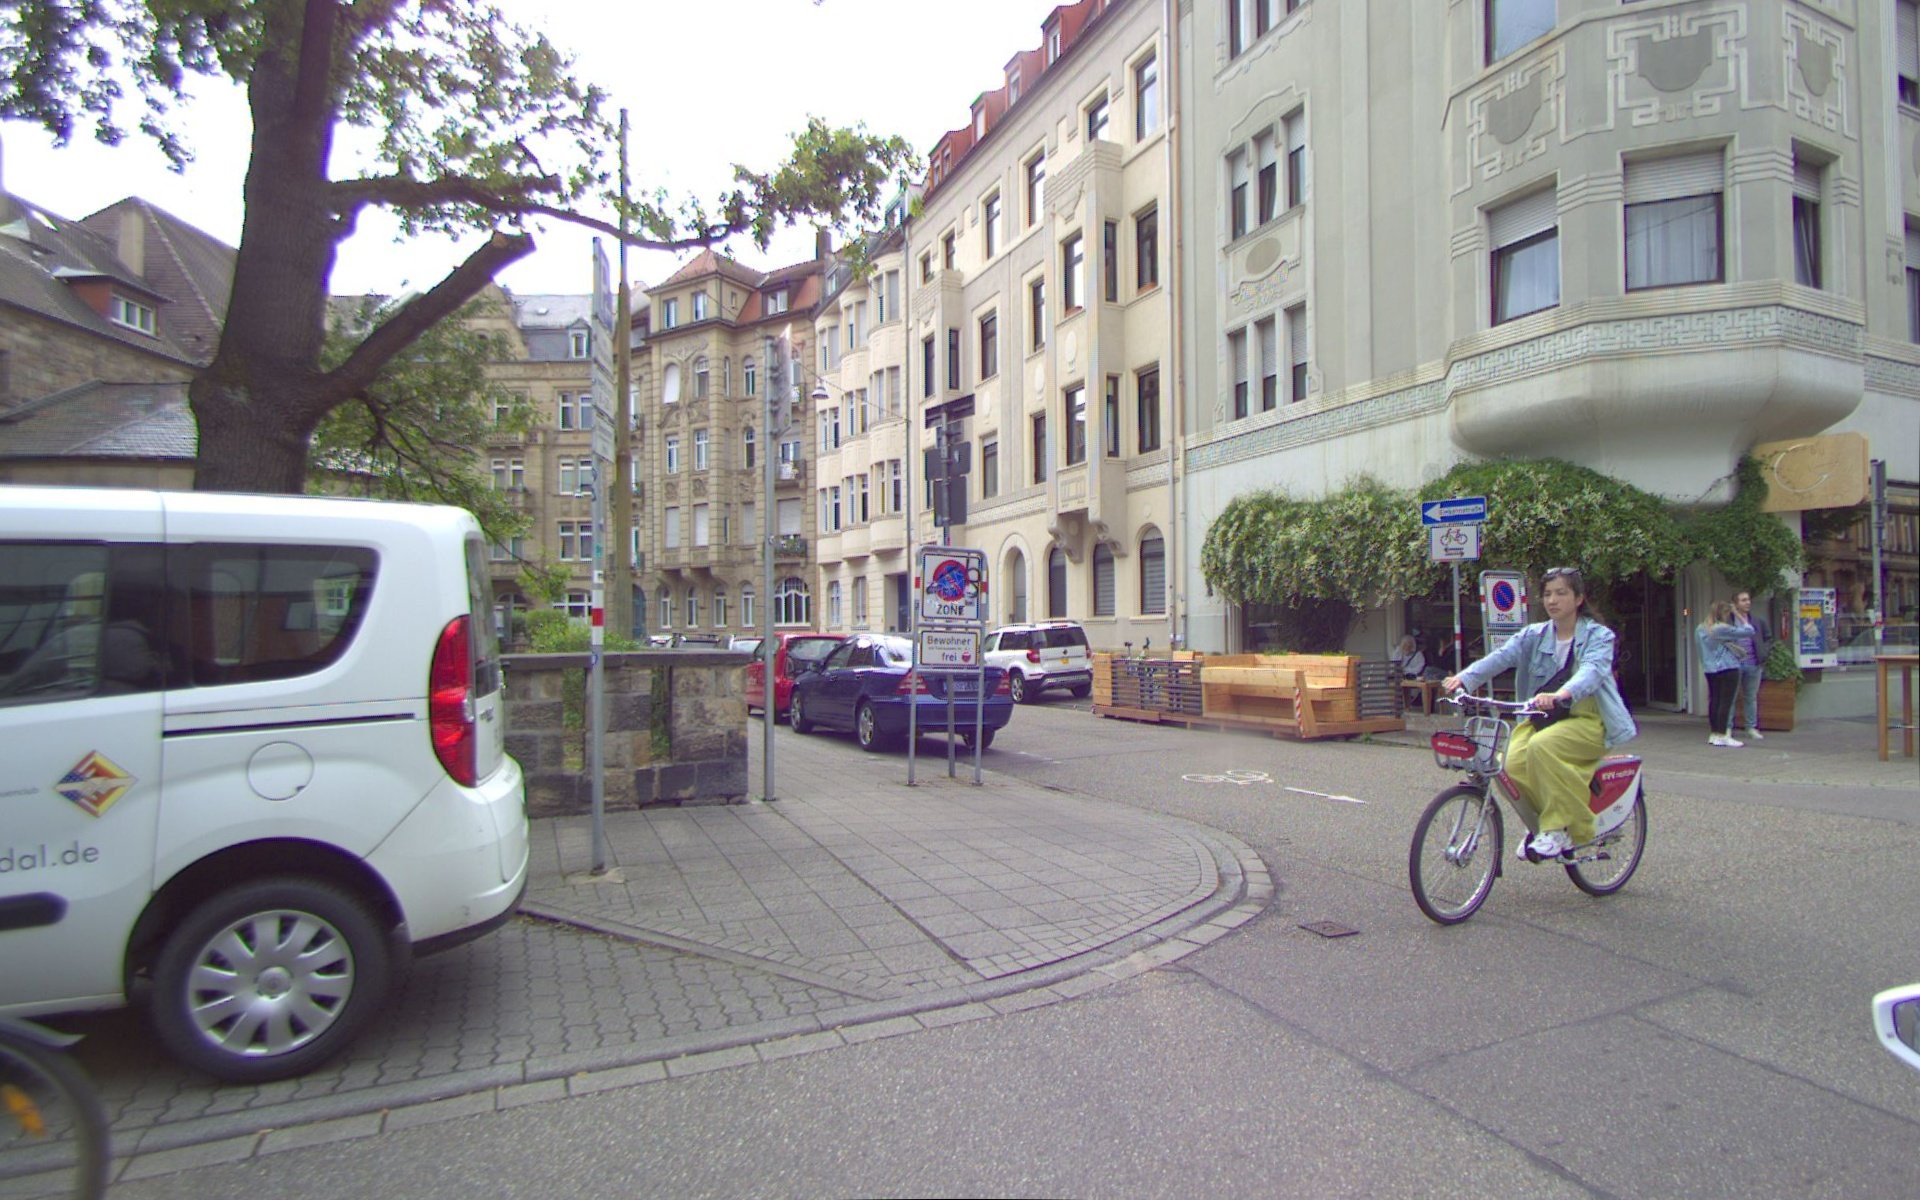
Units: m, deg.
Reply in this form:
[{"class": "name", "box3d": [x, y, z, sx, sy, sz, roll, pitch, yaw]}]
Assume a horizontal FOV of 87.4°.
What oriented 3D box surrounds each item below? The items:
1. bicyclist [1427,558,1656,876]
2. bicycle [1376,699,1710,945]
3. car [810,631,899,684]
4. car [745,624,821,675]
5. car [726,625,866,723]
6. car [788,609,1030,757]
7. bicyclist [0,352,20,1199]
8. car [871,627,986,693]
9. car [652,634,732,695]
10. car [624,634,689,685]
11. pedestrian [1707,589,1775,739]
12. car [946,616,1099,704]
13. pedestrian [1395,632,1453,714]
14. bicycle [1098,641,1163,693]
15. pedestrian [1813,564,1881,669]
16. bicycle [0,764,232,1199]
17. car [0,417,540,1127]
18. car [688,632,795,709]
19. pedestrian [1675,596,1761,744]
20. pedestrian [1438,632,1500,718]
[{"class": "bicyclist", "box3d": [2.856, 0.540, 4.961, 0.773, 1.417, 0.666, 2, -2, -26]}, {"class": "bicycle", "box3d": [2.928, 1.021, 4.992, 1.841, 0.990, 0.533, 2, -2, -27]}, {"class": "car", "box3d": [-3.546, 1.877, 33.270, 1.676, 1.577, 3.806, -2, -2, -26]}, {"class": "car", "box3d": [-7.392, 2.032, 41.560, 2.018, 1.912, 4.555, -2, -2, -24]}, {"class": "car", "box3d": [-2.897, 1.189, 17.235, 1.452, 1.502, 3.341, 2, -2, -26]}, {"class": "car", "box3d": [-0.838, 1.001, 13.261, 1.746, 1.627, 4.044, 1, -3, -26]}, {"class": "bicyclist", "box3d": [-2.309, 0.397, 1.754, 0.703, 1.891, 0.781, 0, -1, -20]}, {"class": "car", "box3d": [-0.950, 1.626, 27.631, 1.676, 1.577, 3.806, -2, -2, -26]}, {"class": "car", "box3d": [-7.259, 1.691, 27.037, 1.452, 1.502, 3.341, 2, -2, -26]}, {"class": "car", "box3d": [-9.767, 1.882, 32.239, 1.452, 1.502, 3.341, 2, -2, -26]}, {"class": "pedestrian", "box3d": [9.452, 0.757, 12.174, 0.570, 1.757, 0.505, 0, -2, 30]}, {"class": "car", "box3d": [1.325, 1.334, 22.790, 1.744, 1.739, 3.806, -2, -2, -26]}, {"class": "pedestrian", "box3d": [7.147, 1.104, 15.478, 0.547, 1.213, 0.577, 0, -1, -25]}, {"class": "bicycle", "box3d": [3.909, 1.520, 23.177, 0.714, 1.112, 1.740, 0, -1, -20]}, {"class": "pedestrian", "box3d": [13.970, 0.264, 15.840, 0.733, 1.614, 0.617, 0, -2, 35]}, {"class": "bicycle", "box3d": [-2.456, 0.913, 1.645, 1.956, 1.102, 0.567, 0, -1, -20]}, {"class": "car", "box3d": [-3.807, 0.489, 3.284, 4.483, 1.965, 1.839, 0, -1, -23]}, {"class": "car", "box3d": [-4.815, 1.470, 21.798, 1.452, 1.502, 3.481, 2, -2, -26]}, {"class": "pedestrian", "box3d": [8.850, 0.805, 11.748, 0.565, 1.682, 0.580, 1, -1, -4]}, {"class": "pedestrian", "box3d": [7.472, 1.088, 14.757, 0.547, 1.213, 0.577, 0, -1, -25]}]
